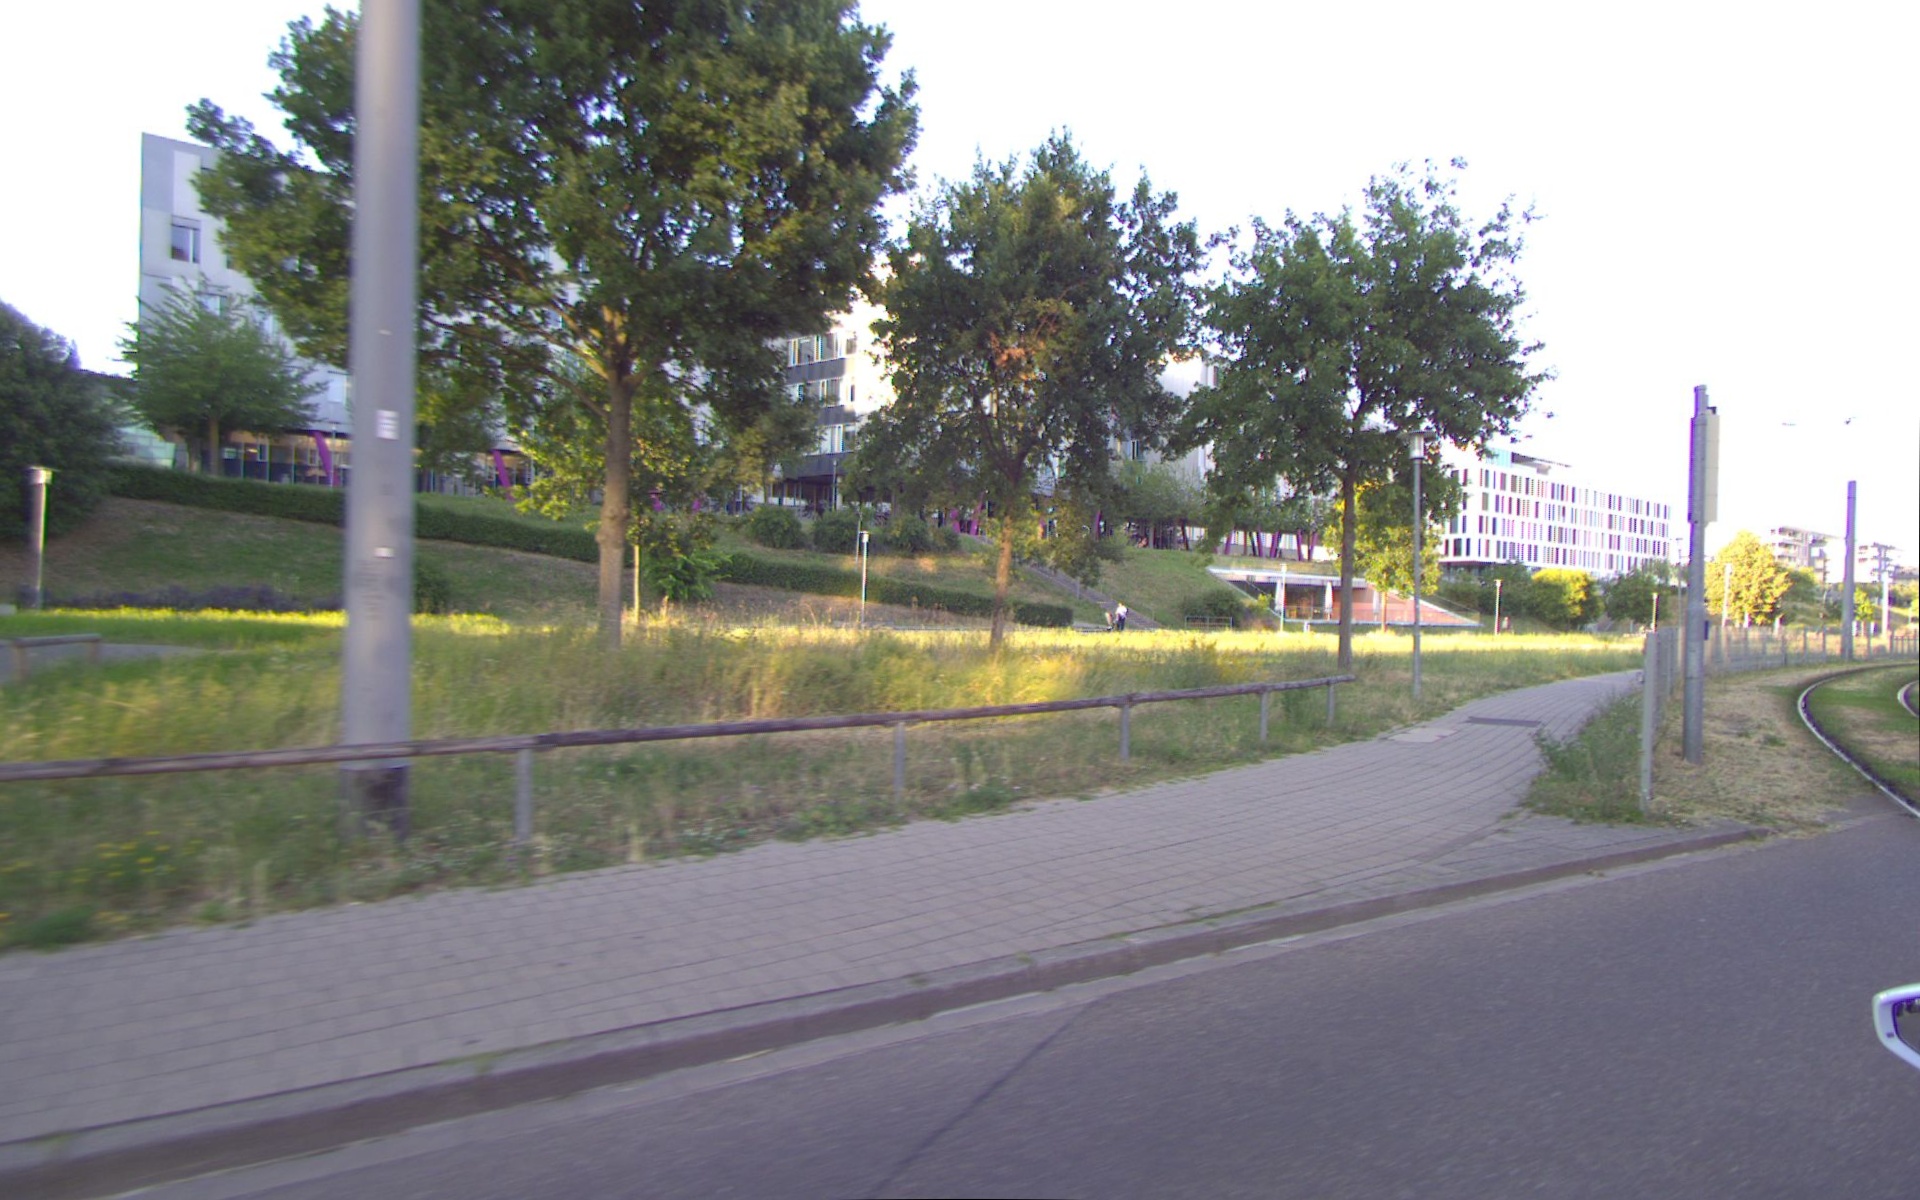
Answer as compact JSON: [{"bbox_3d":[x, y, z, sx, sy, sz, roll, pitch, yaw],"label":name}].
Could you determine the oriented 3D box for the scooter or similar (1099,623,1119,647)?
[{"bbox_3d":[8.081,1.914,54.421,0.781,1.260,0.613,2,1,-31],"label":"scooter or similar"}]

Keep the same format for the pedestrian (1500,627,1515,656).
[{"bbox_3d":[40.993,3.122,75.235,0.781,2.110,0.613,2,1,-31],"label":"pedestrian"}]

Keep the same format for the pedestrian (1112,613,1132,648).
[{"bbox_3d":[8.874,1.644,54.973,0.781,1.861,0.613,2,1,-31],"label":"pedestrian"}]
